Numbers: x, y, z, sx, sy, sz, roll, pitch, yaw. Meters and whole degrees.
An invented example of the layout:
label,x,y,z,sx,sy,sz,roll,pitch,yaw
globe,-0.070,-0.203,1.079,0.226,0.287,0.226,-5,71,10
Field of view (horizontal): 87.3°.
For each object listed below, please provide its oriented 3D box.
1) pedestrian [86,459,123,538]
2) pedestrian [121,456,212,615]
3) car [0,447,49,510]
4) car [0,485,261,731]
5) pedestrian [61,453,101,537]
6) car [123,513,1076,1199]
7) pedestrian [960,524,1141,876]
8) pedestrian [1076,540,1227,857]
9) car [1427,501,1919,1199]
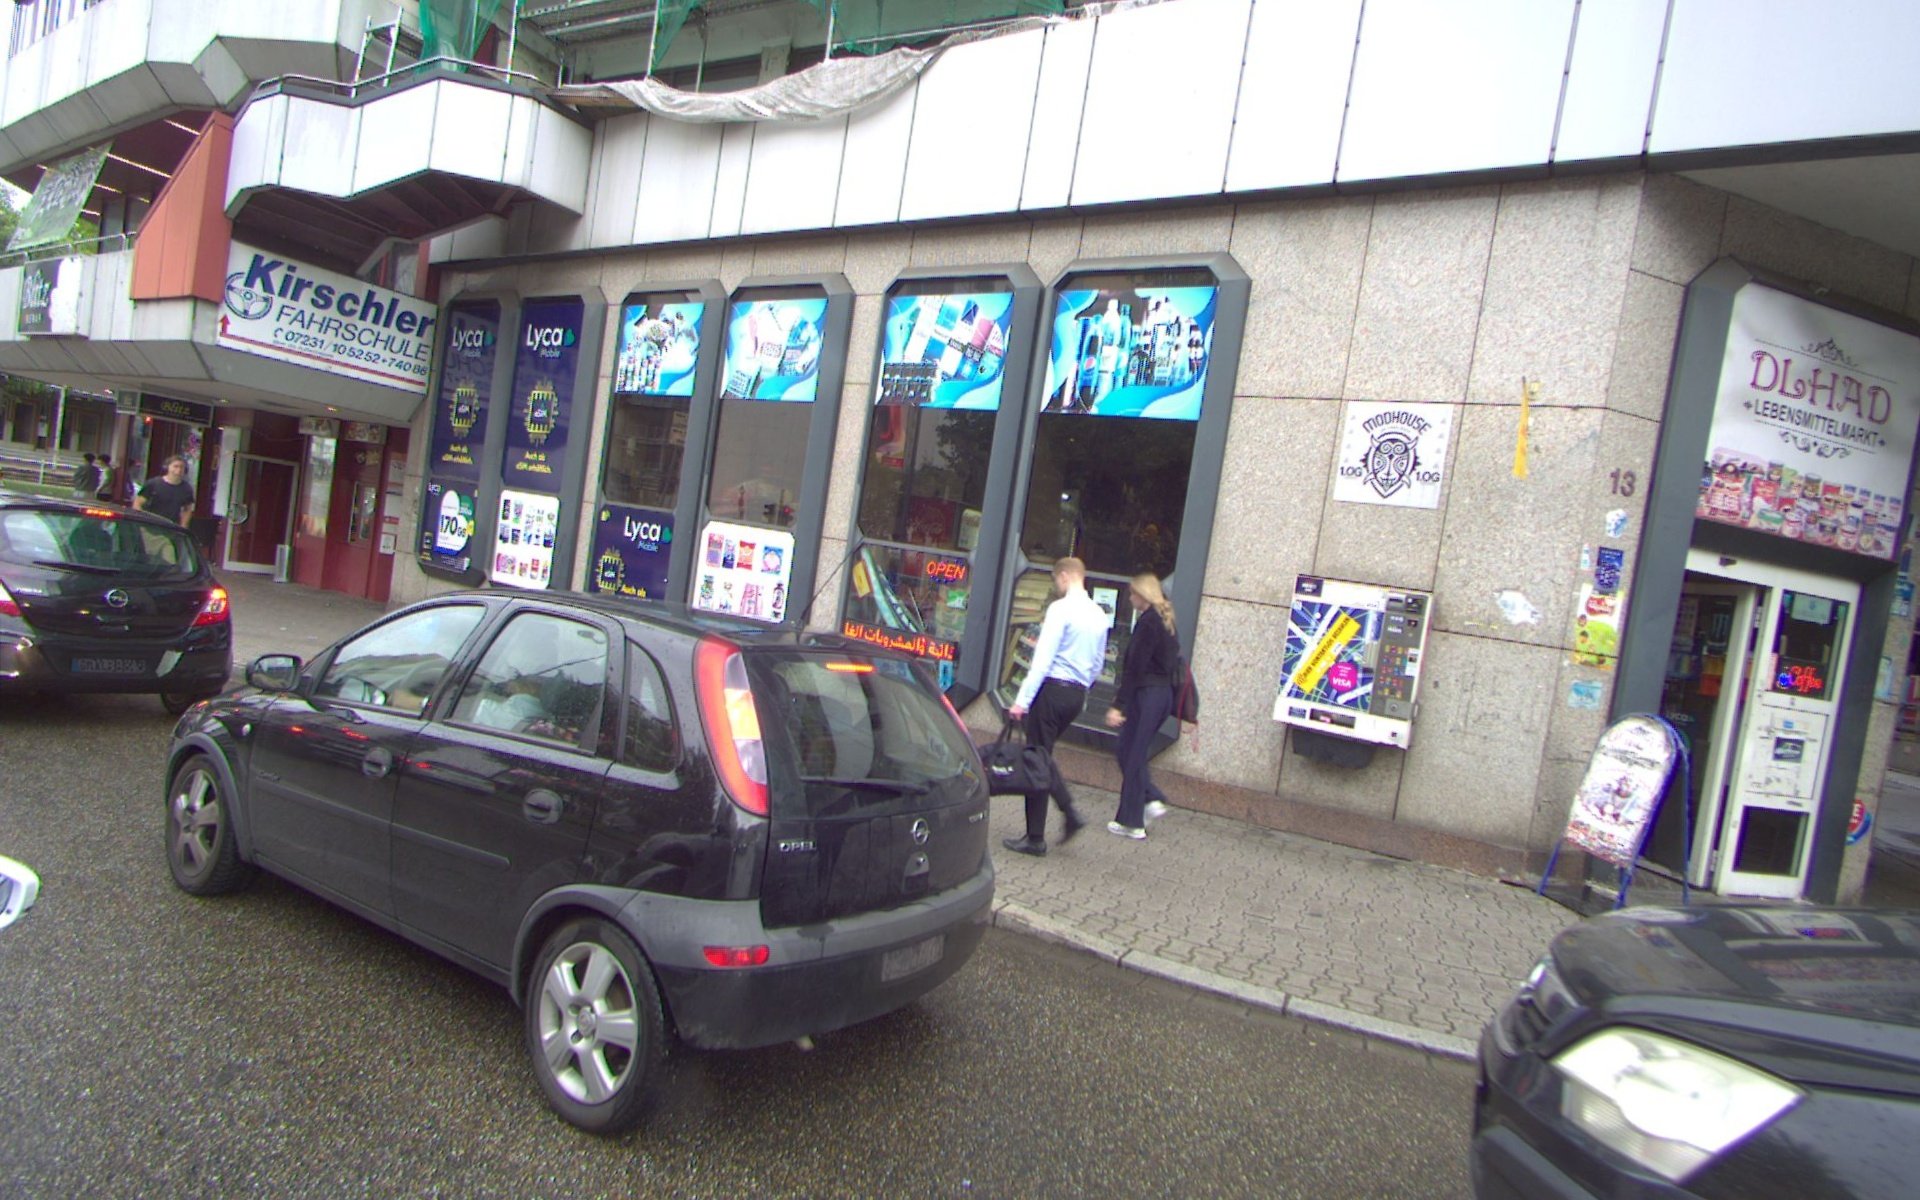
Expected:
label,x,y,z,sx,sy,sz,roll,pitch,yaw
pedestrian,-18.707,-2.214,21.996,0.496,1.660,0.396,6,1,32
pedestrian,-9.666,-0.772,12.249,0.763,1.841,0.739,7,4,43
car,-26.543,-3.462,26.110,1.593,1.503,3.911,6,-2,19
car,-7.080,-0.113,7.355,3.776,1.446,1.620,8,-1,29
pedestrian,-18.649,-2.223,21.354,0.443,1.704,0.426,6,1,30
car,-1.575,0.621,4.003,3.563,1.446,1.609,8,-1,33
pedestrian,0.563,0.580,6.112,0.629,1.957,0.737,6,-1,31
pedestrian,1.291,0.615,6.740,0.629,1.961,0.736,6,4,31
car,2.979,1.037,1.318,4.095,1.786,1.763,8,-1,32
